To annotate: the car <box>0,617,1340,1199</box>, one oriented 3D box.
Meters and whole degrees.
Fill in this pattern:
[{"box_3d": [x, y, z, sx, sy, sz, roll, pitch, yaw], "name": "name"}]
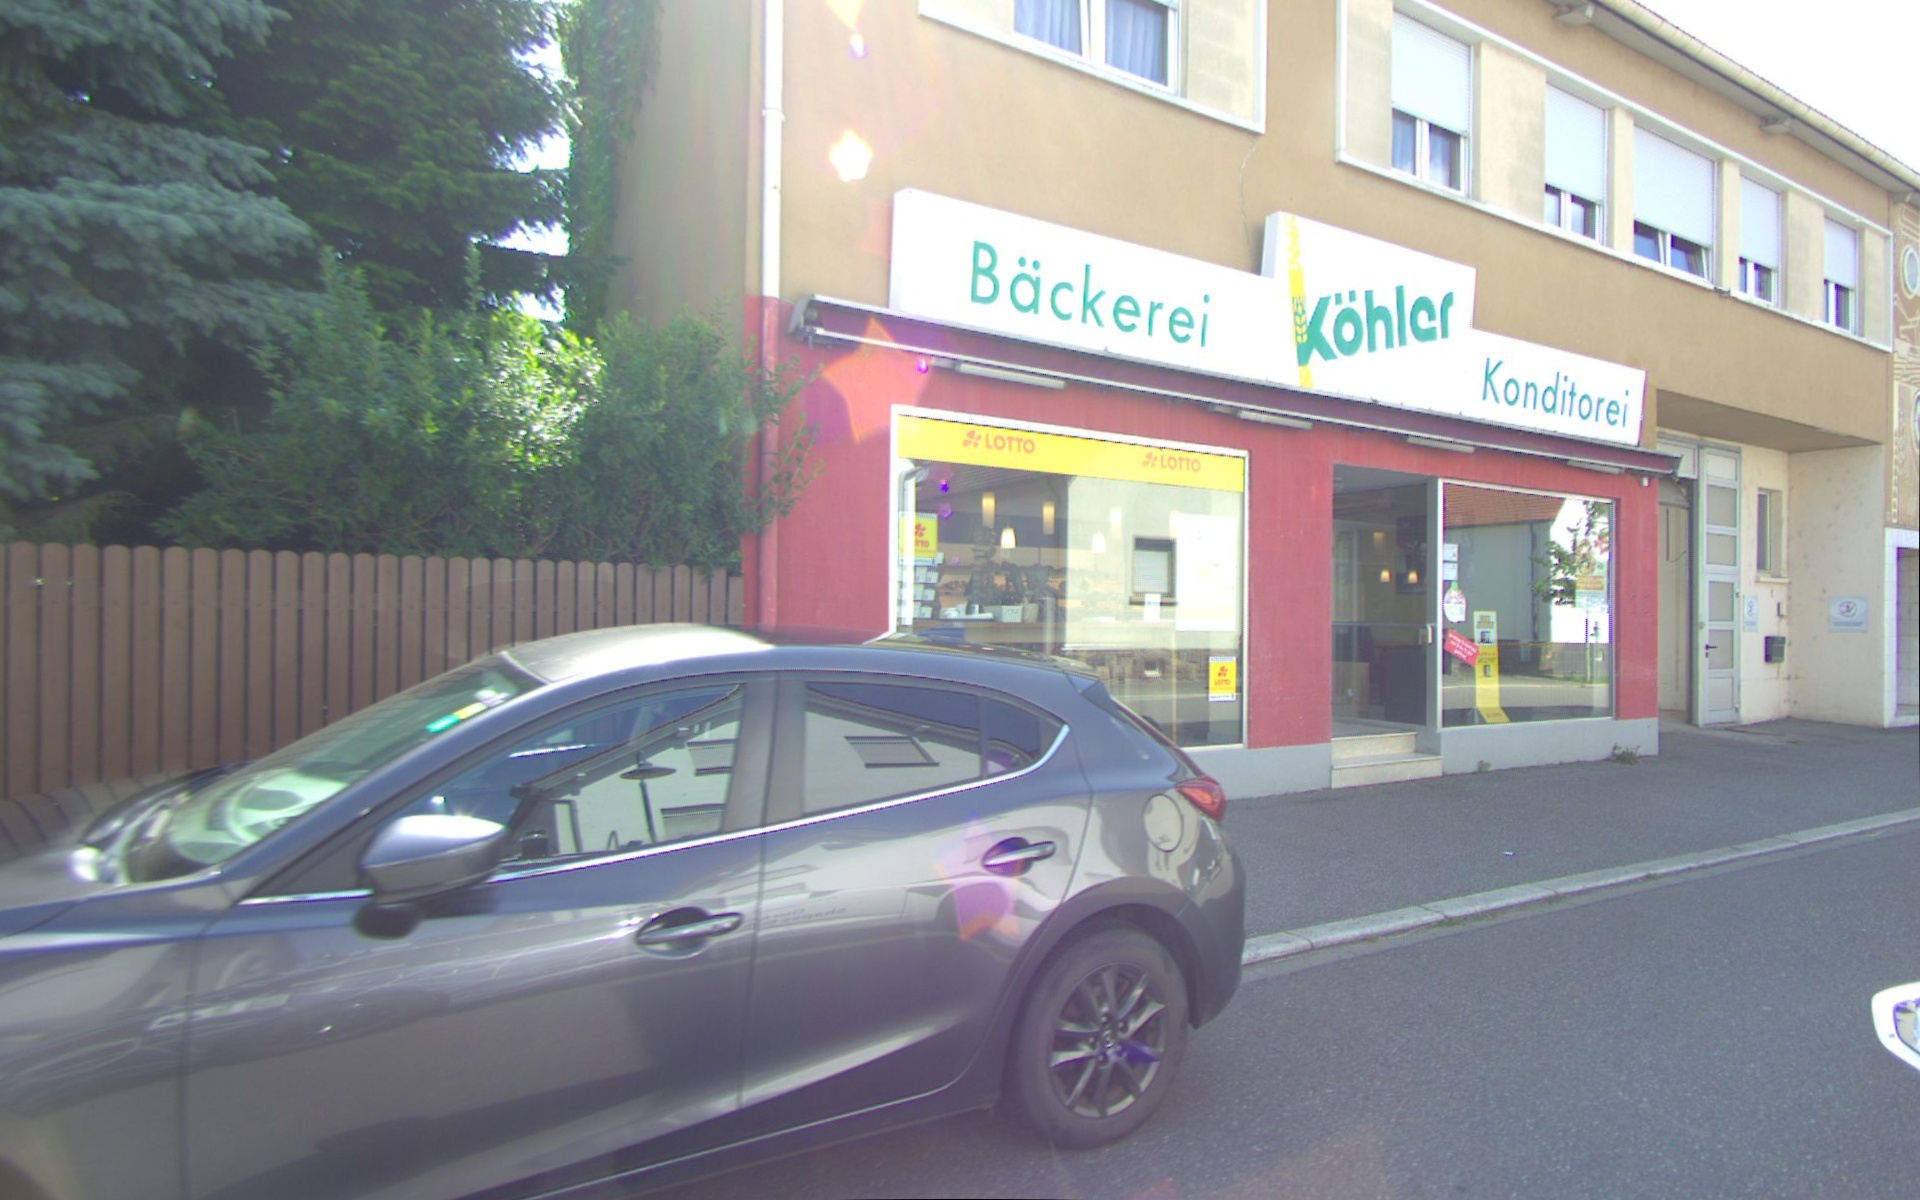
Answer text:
[{"box_3d": [-1.119, 0.808, 2.932, 4.381, 1.479, 1.761, 1, -1, -29], "name": "car"}]
